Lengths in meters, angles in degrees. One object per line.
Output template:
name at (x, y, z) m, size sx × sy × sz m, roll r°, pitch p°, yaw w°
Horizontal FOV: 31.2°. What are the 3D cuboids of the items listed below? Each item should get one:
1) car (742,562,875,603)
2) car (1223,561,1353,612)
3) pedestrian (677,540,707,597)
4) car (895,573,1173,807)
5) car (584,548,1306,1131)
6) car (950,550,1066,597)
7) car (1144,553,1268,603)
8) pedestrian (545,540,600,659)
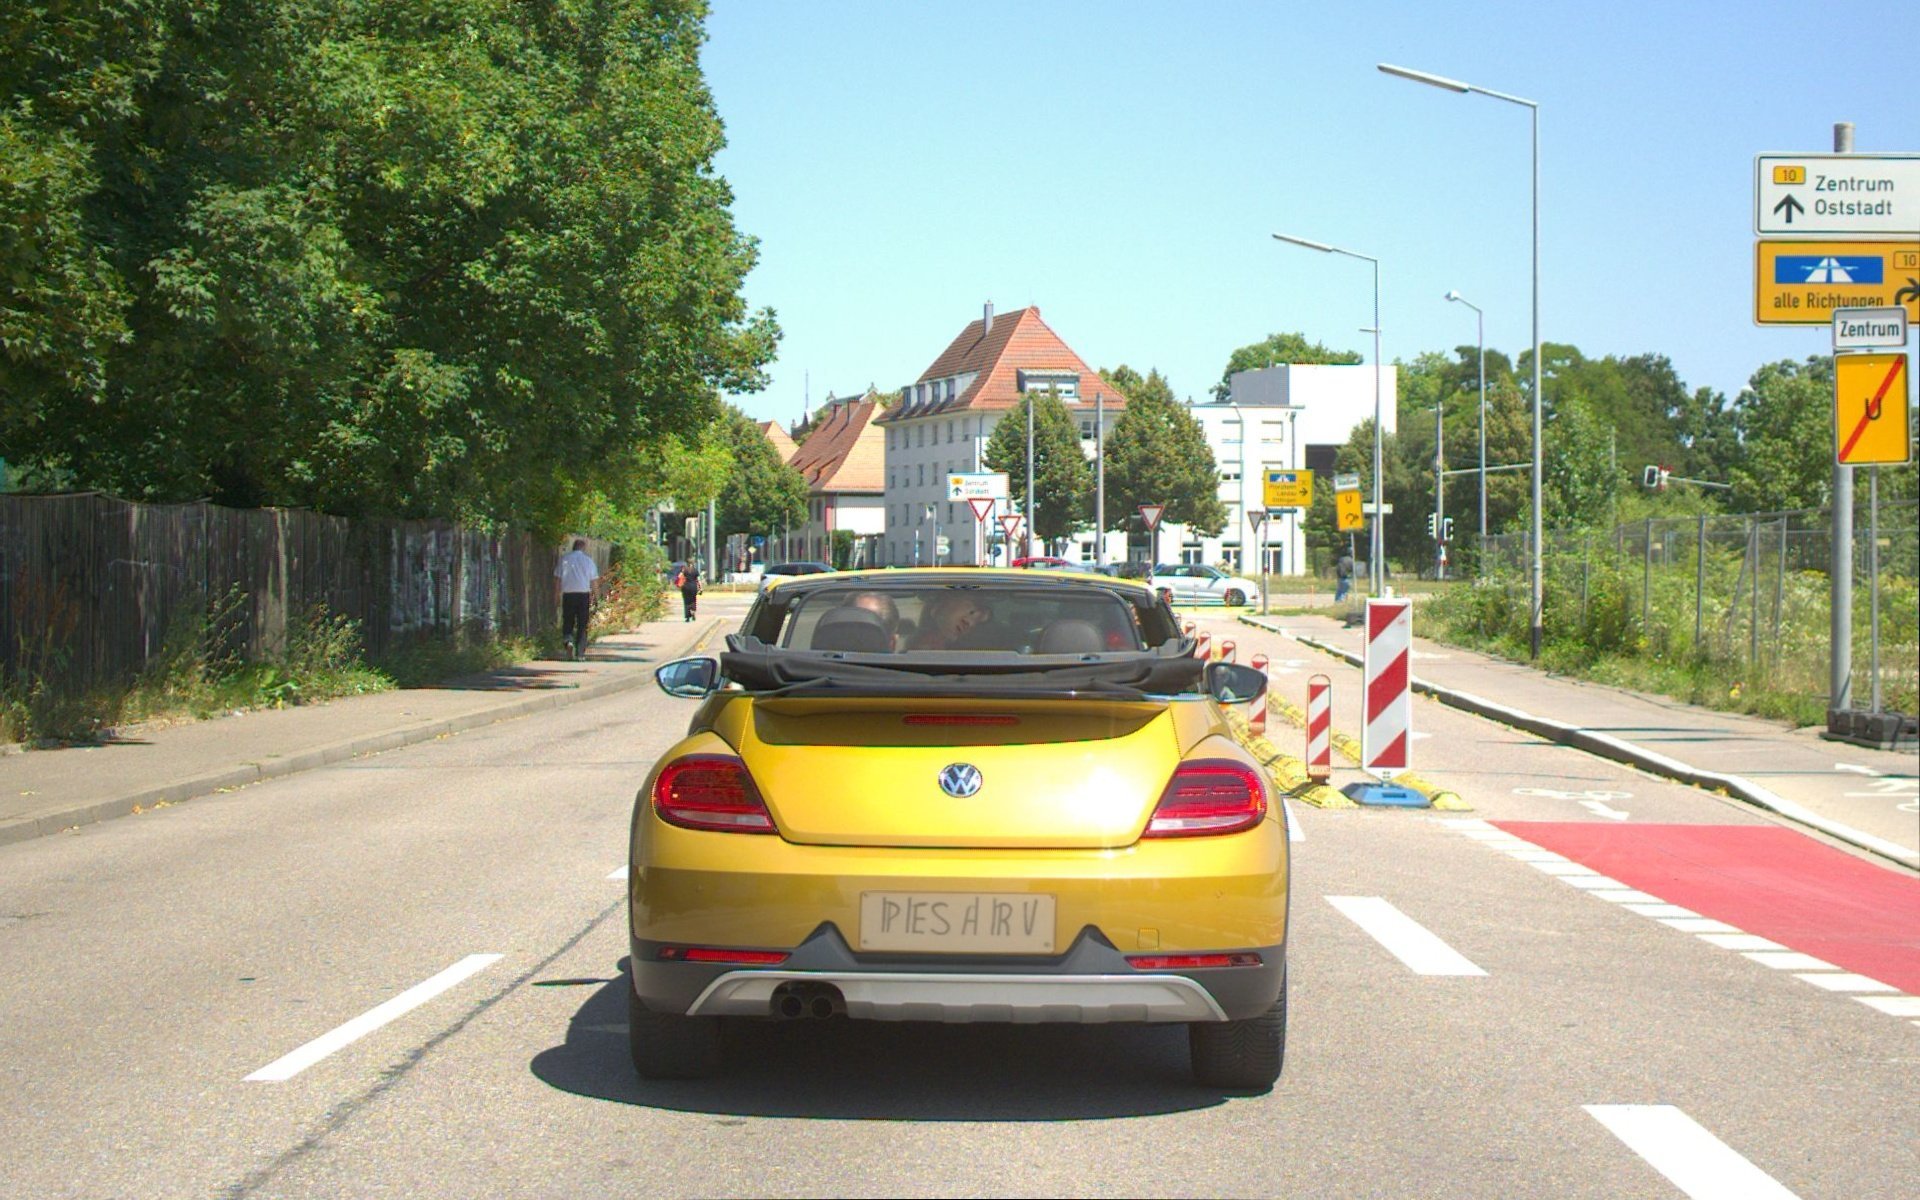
car at (-5.281, -0.618, 120.041) m, size 4.441 × 1.353 × 1.537 m, roll 0°, pitch 1°, yaw 8°
car at (10.680, -0.439, 111.755) m, size 3.989 × 1.607 × 1.790 m, roll -1°, pitch 1°, yaw 13°
pedestrian at (-6.892, -0.816, 88.472) m, size 0.722 × 1.449 × 0.818 m, roll -1°, pitch 1°, yaw -2°
car at (0.548, 0.550, 23.493) m, size 1.727 × 1.438 × 4.000 m, roll 0°, pitch 1°, yaw 2°
car at (-0.018, 0.572, 10.487) m, size 1.790 × 1.432 × 3.814 m, roll -1°, pitch 1°, yaw 1°
car at (1.781, -0.976, 126.352) m, size 4.065 × 1.671 × 1.784 m, roll 0°, pitch 1°, yaw 8°
car at (8.394, -0.757, 117.245) m, size 4.065 × 1.671 × 1.784 m, roll 0°, pitch 1°, yaw 10°
pedestrian at (-5.686, -0.012, 50.496) m, size 0.722 × 1.719 × 0.818 m, roll -1°, pitch 1°, yaw -2°
